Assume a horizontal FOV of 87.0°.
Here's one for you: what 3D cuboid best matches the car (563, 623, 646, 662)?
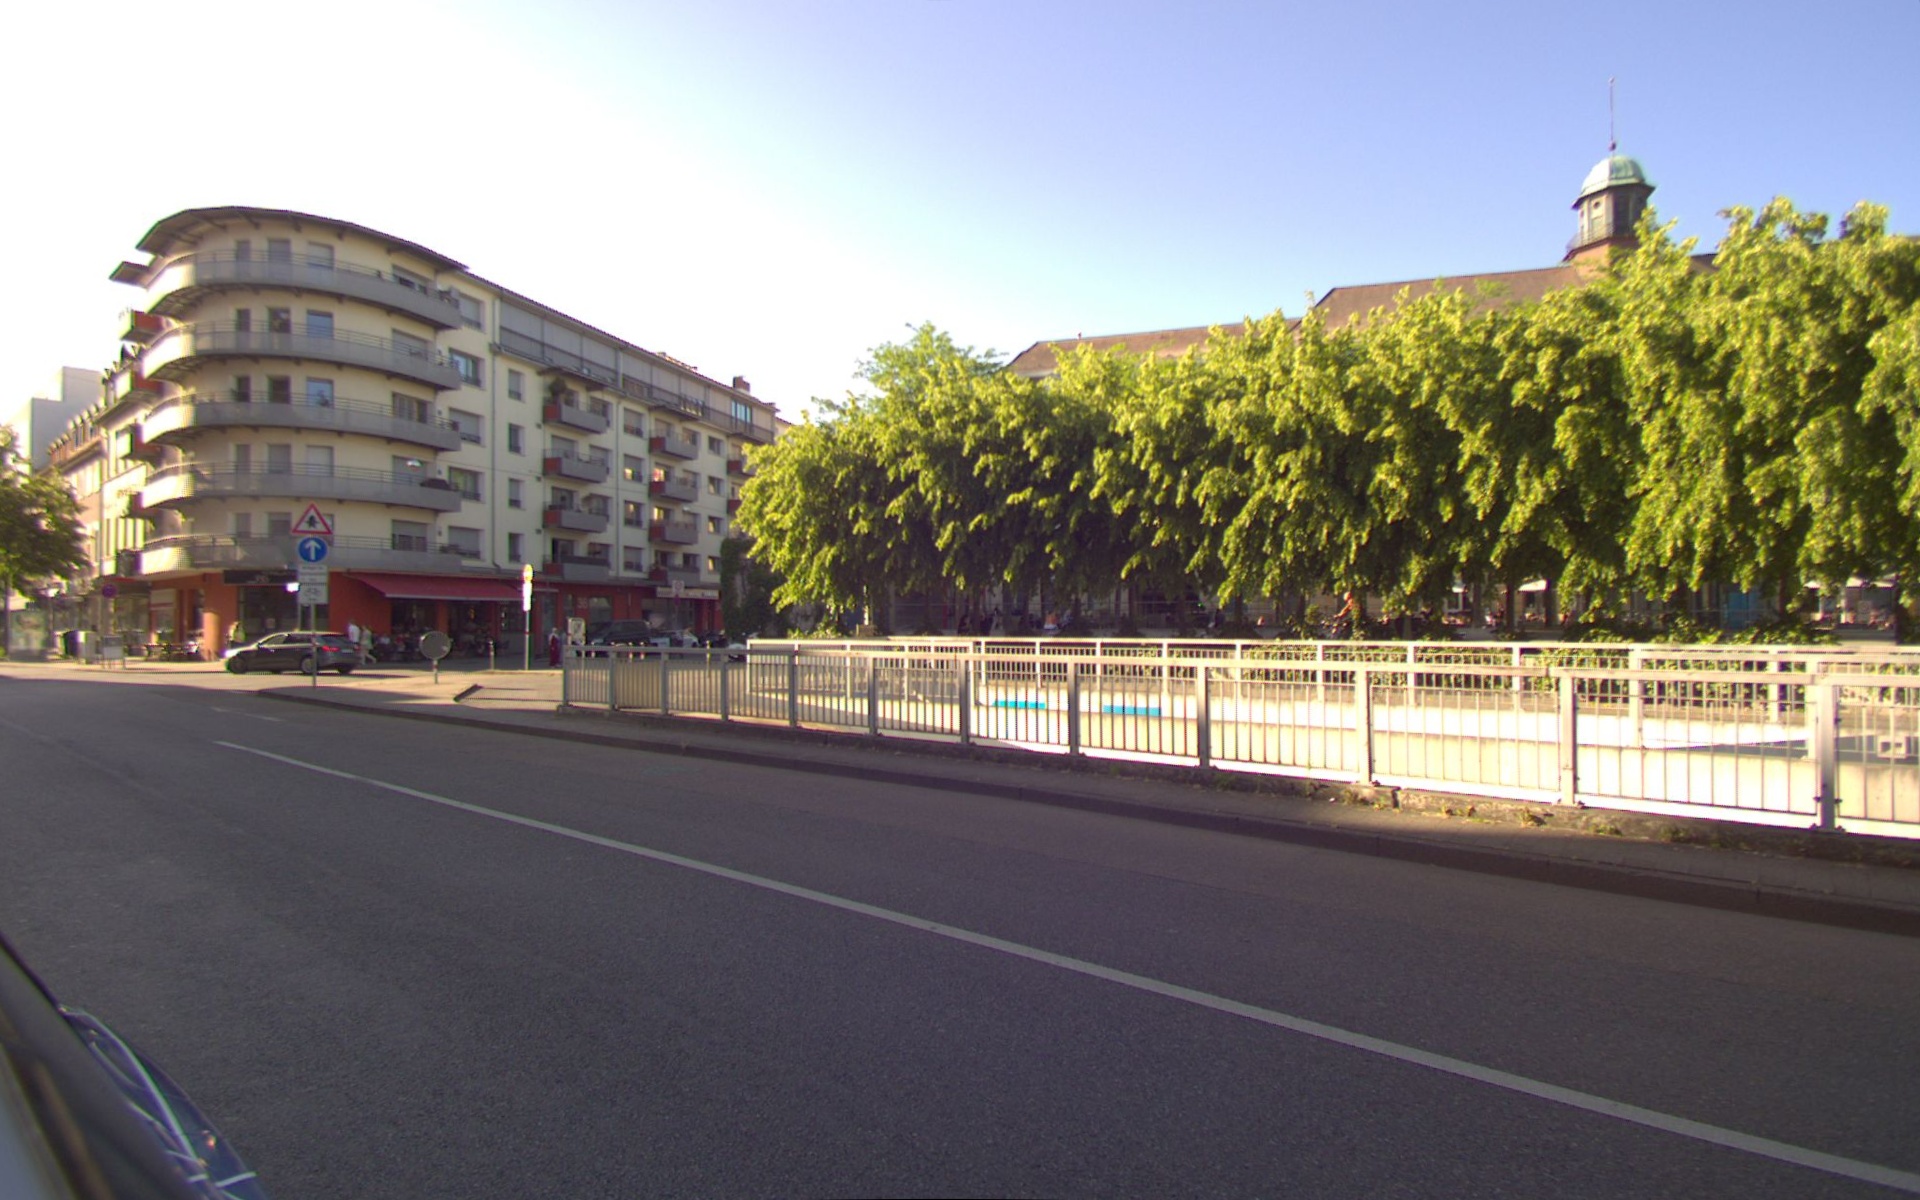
[{"bbox_3d":[-18.656,2.201,53.297,1.939,1.927,4.402,-1,-1,17],"label":"car"}]

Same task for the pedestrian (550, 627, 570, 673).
[{"bbox_3d":[-15.980,1.974,40.451,0.574,1.806,0.602,-1,0,-4],"label":"pedestrian"}]

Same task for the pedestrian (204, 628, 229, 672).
[{"bbox_3d":[-28.316,1.911,38.546,0.792,1.634,0.563,-2,-1,38],"label":"pedestrian"}]

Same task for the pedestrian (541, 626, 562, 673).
[{"bbox_3d":[-16.059,1.953,39.771,0.574,1.806,0.602,-1,0,-4],"label":"pedestrian"}]

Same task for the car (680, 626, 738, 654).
[{"bbox_3d":[-15.823,2.502,63.973,1.776,1.633,3.913,-1,-1,17],"label":"car"}]

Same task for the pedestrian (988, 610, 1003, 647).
[{"bbox_3d":[1.776,1.403,50.449,0.578,1.806,0.597,-1,-1,21],"label":"pedestrian"}]

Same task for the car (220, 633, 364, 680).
[{"bbox_3d":[-21.964,1.853,33.331,3.886,1.407,1.800,-1,-1,13],"label":"car"}]

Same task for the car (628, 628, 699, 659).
[{"bbox_3d":[-17.098,2.463,58.568,1.939,1.633,4.272,-1,-1,17],"label":"car"}]

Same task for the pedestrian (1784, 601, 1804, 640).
[{"bbox_3d":[38.386,0.944,46.573,0.599,1.806,0.576,-1,-1,31],"label":"pedestrian"}]

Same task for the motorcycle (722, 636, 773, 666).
[{"bbox_3d":[-8.629,2.056,41.022,1.898,1.110,0.684,-1,-1,-26],"label":"motorcycle"}]

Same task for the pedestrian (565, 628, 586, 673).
[{"bbox_3d":[-15.625,2.047,41.109,0.574,1.806,0.601,-1,0,1],"label":"pedestrian"}]
